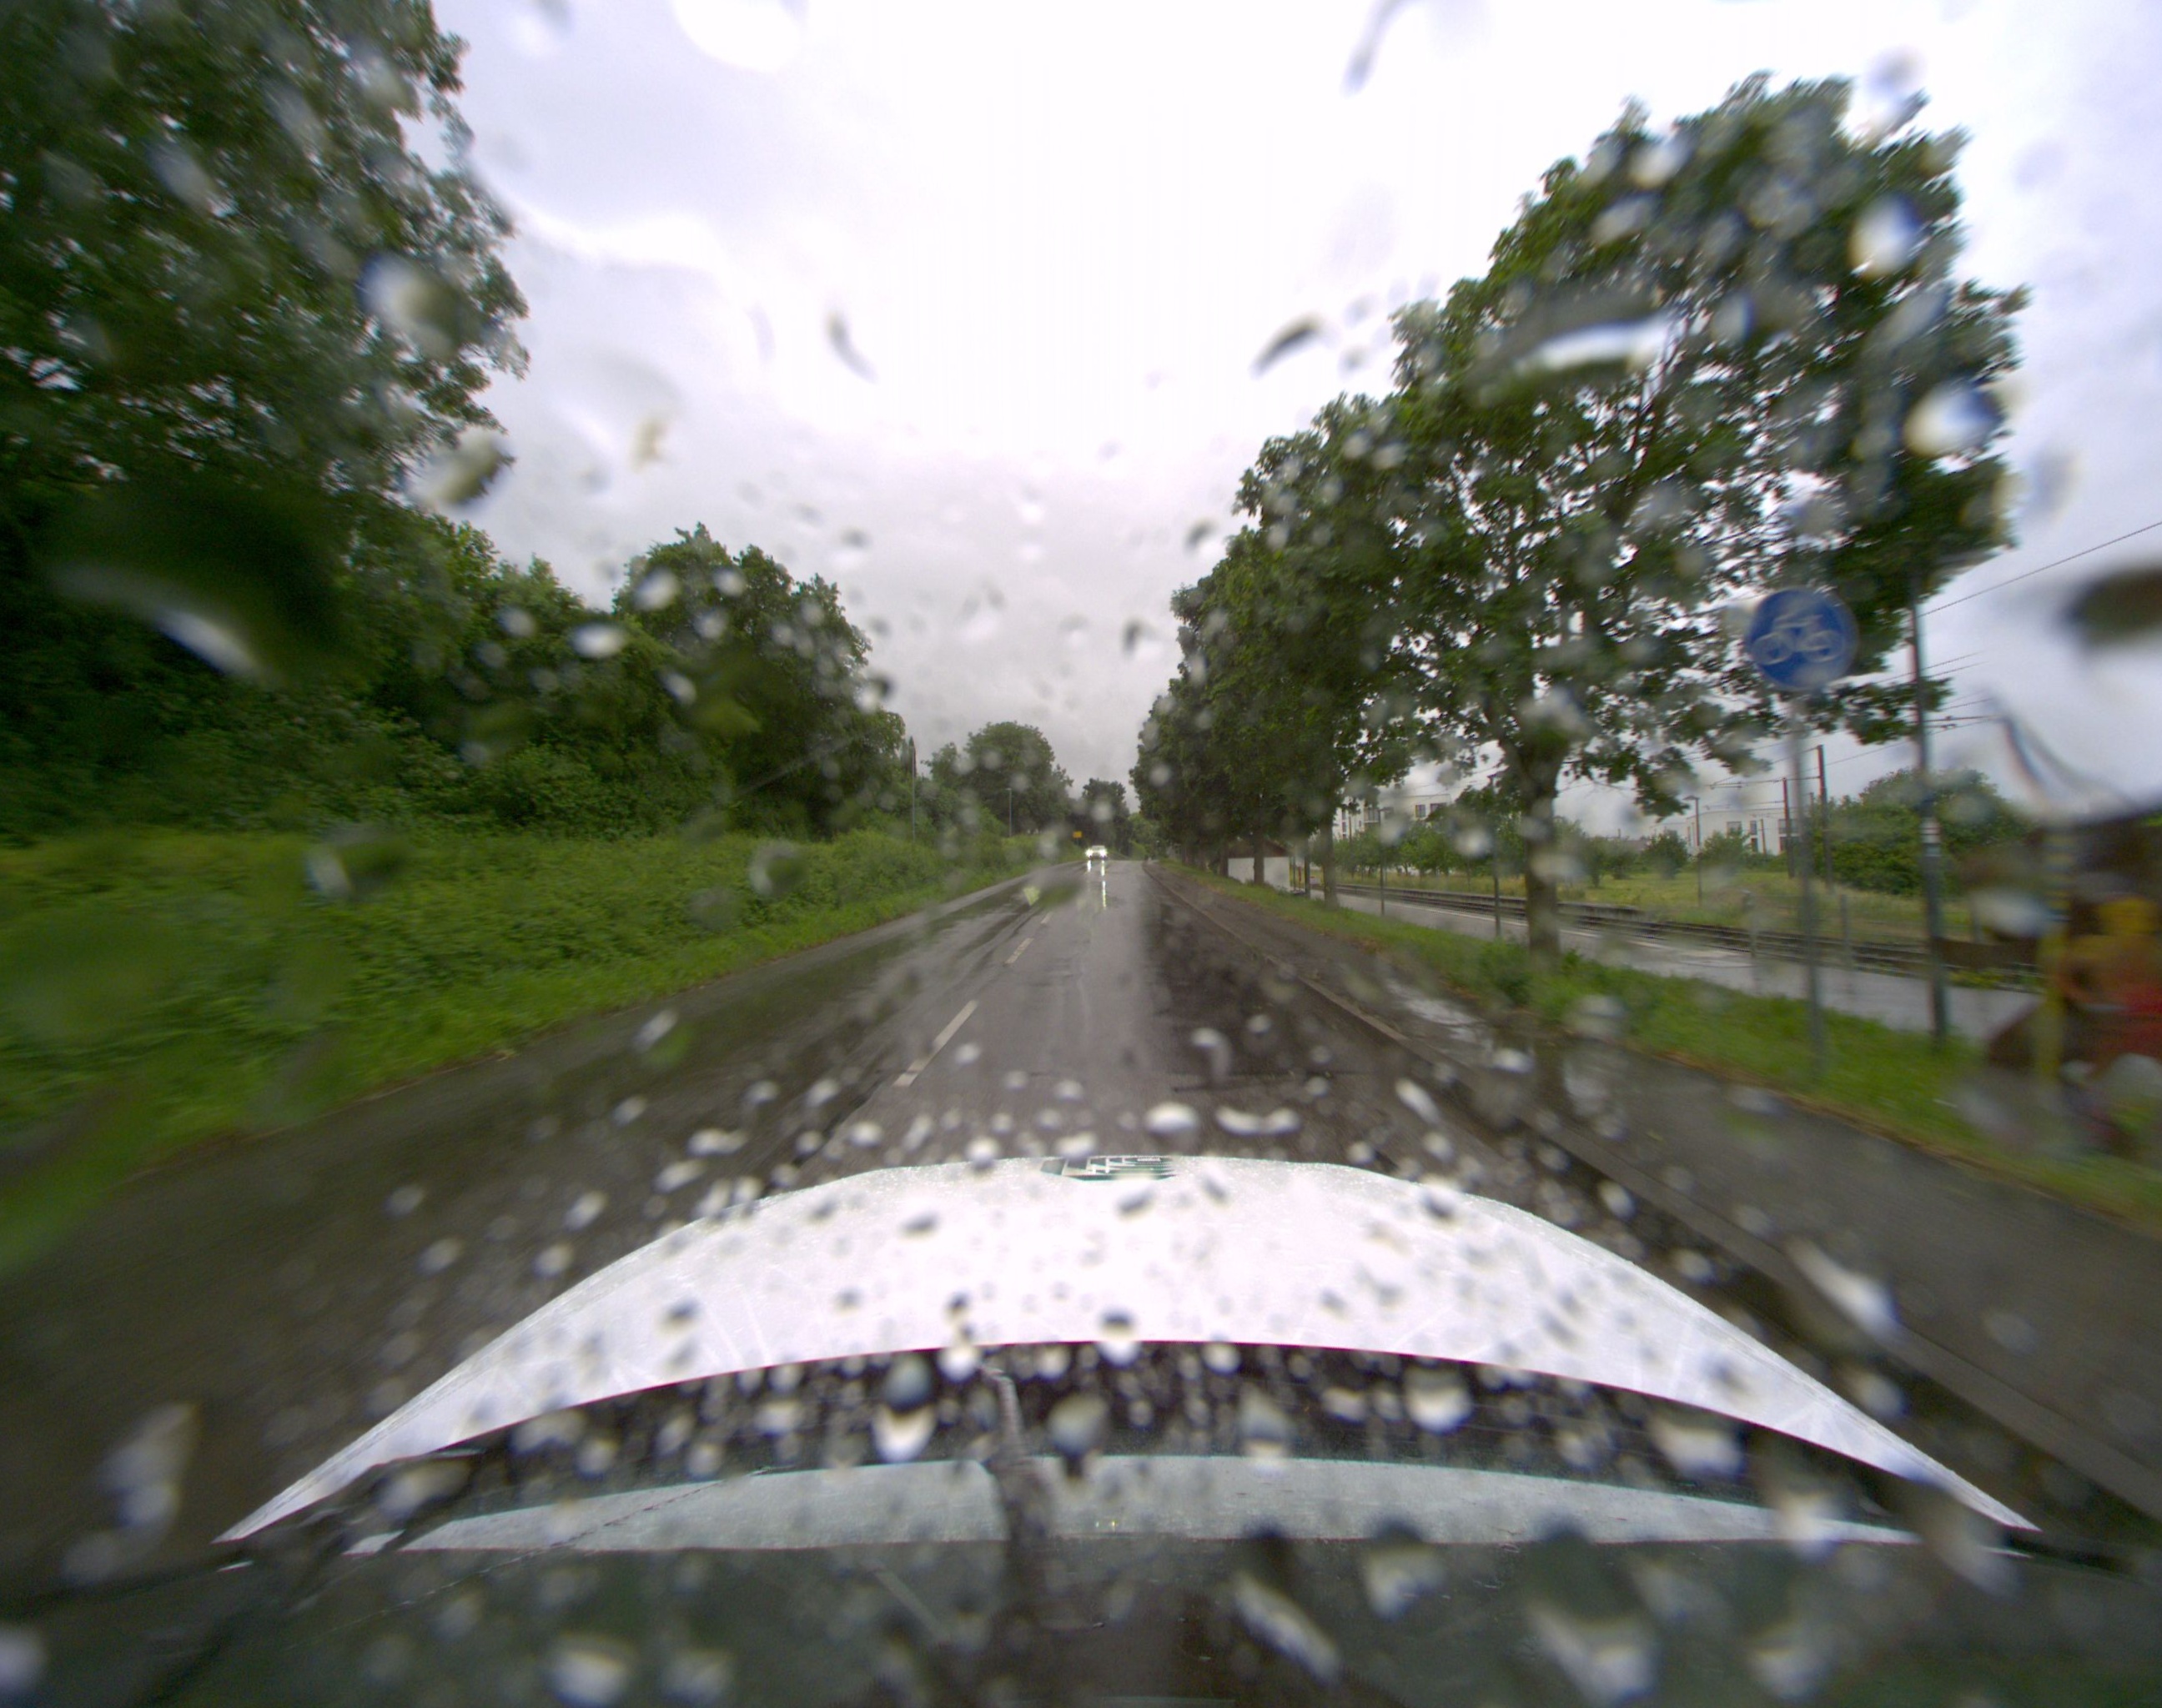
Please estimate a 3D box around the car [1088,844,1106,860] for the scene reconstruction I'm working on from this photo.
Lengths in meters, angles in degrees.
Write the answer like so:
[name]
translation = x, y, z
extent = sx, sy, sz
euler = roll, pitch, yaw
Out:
[car]
translation = 1.704, -0.244, 85.589
extent = 1.774, 1.504, 4.004
euler = -1, 2, 3
